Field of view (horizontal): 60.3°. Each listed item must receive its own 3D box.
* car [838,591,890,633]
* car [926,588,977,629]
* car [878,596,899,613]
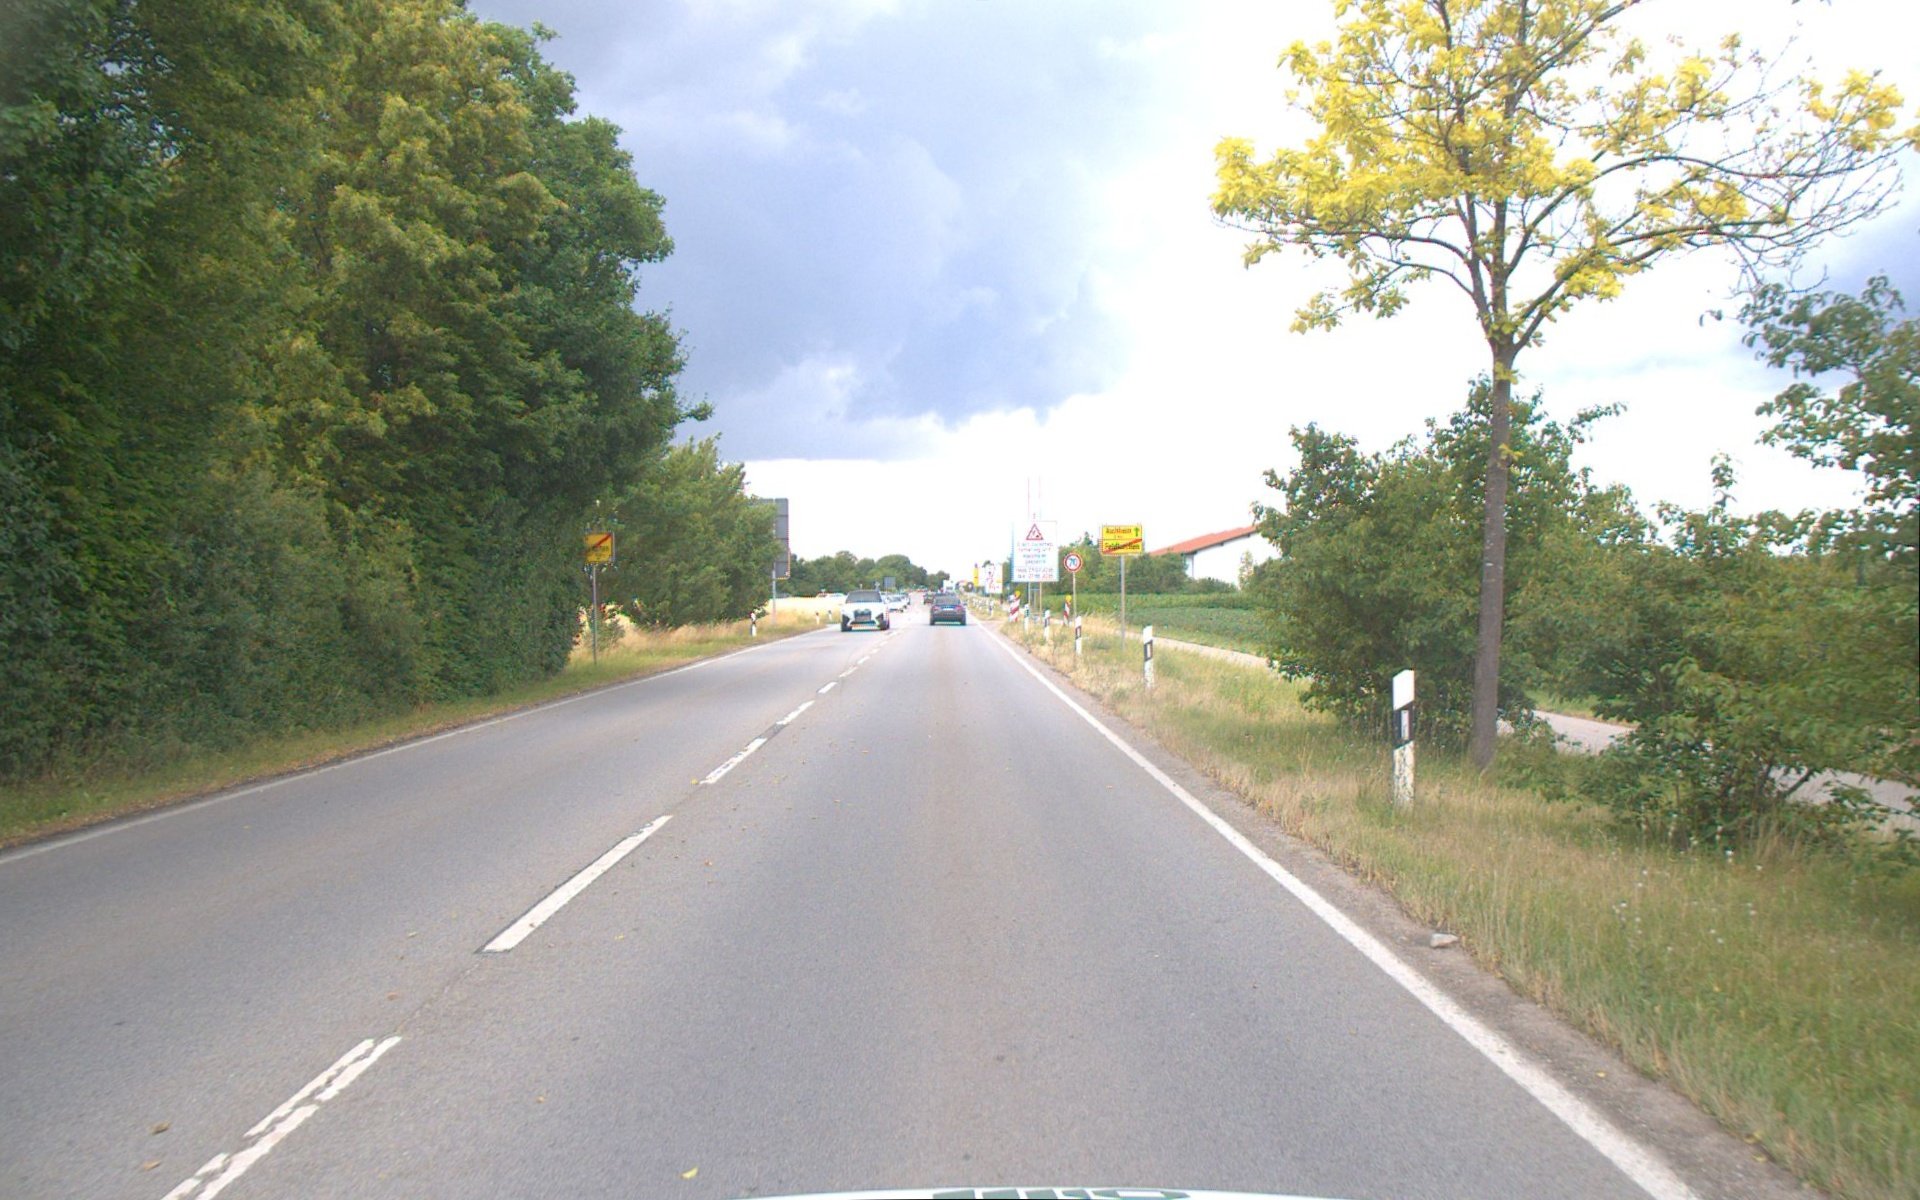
[{"bbox_3d":[-4.068,0.477,70.590,1.953,1.713,4.809,-1,0,-1],"label":"car"},{"bbox_3d":[-0.468,0.428,82.685,2.324,1.913,4.475,-2,0,-3],"label":"car"},{"bbox_3d":[-6.157,0.358,142.847,1.693,1.387,3.949,-1,0,-1],"label":"car"}]
